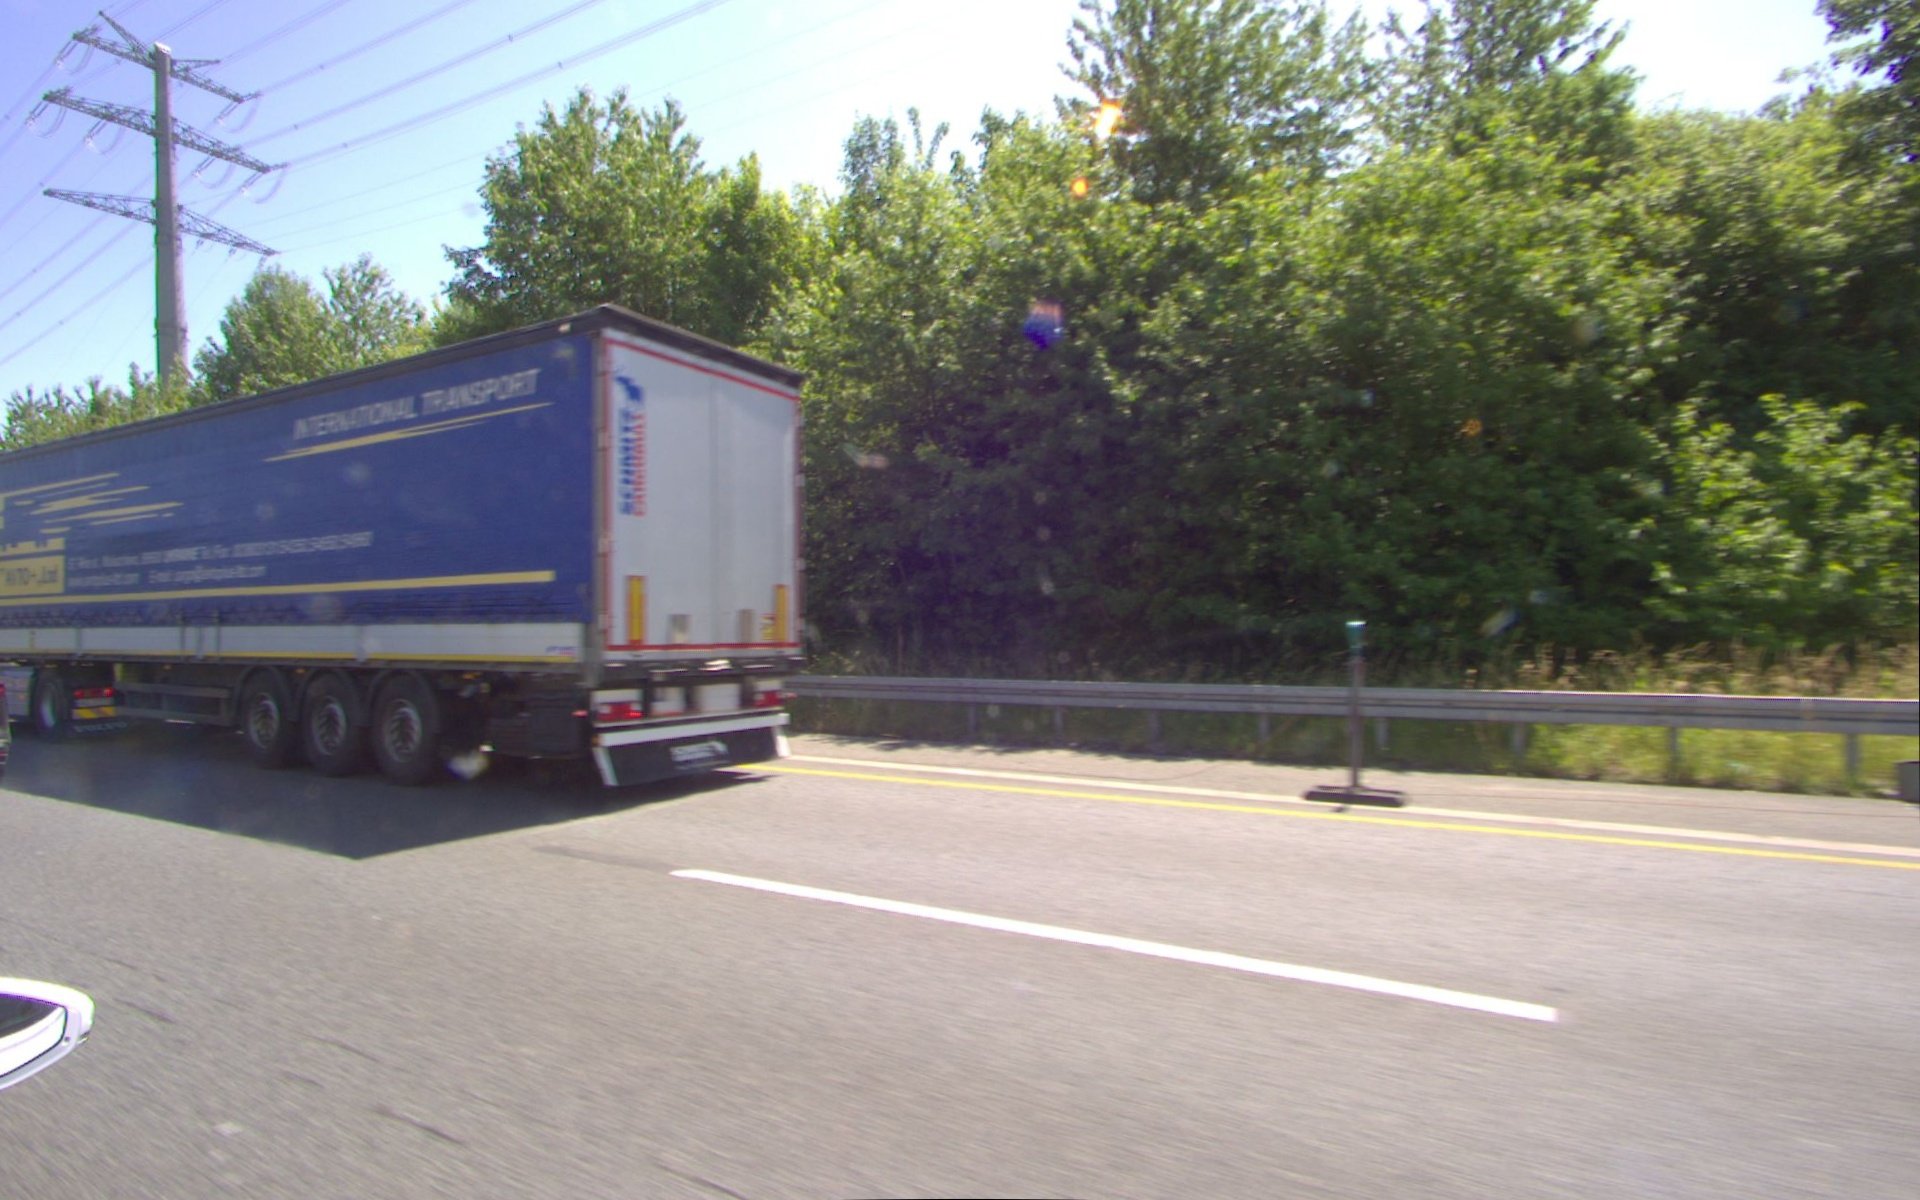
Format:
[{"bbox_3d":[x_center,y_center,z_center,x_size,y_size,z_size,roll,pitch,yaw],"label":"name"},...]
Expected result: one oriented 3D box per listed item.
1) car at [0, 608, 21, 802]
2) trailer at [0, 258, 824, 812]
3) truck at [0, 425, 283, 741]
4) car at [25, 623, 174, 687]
[{"bbox_3d":[-10.560,0.930,9.130,4.363,1.676,1.699,-1,-2,30],"label":"car"},{"bbox_3d":[-7.533,-0.348,12.239,12.688,4.318,2.764,-1,-2,31],"label":"trailer"},{"bbox_3d":[-13.716,-0.131,15.920,5.554,4.197,2.782,-1,-2,31],"label":"truck"},{"bbox_3d":[-24.383,1.536,28.348,4.294,1.692,1.873,-1,-2,30],"label":"car"}]
